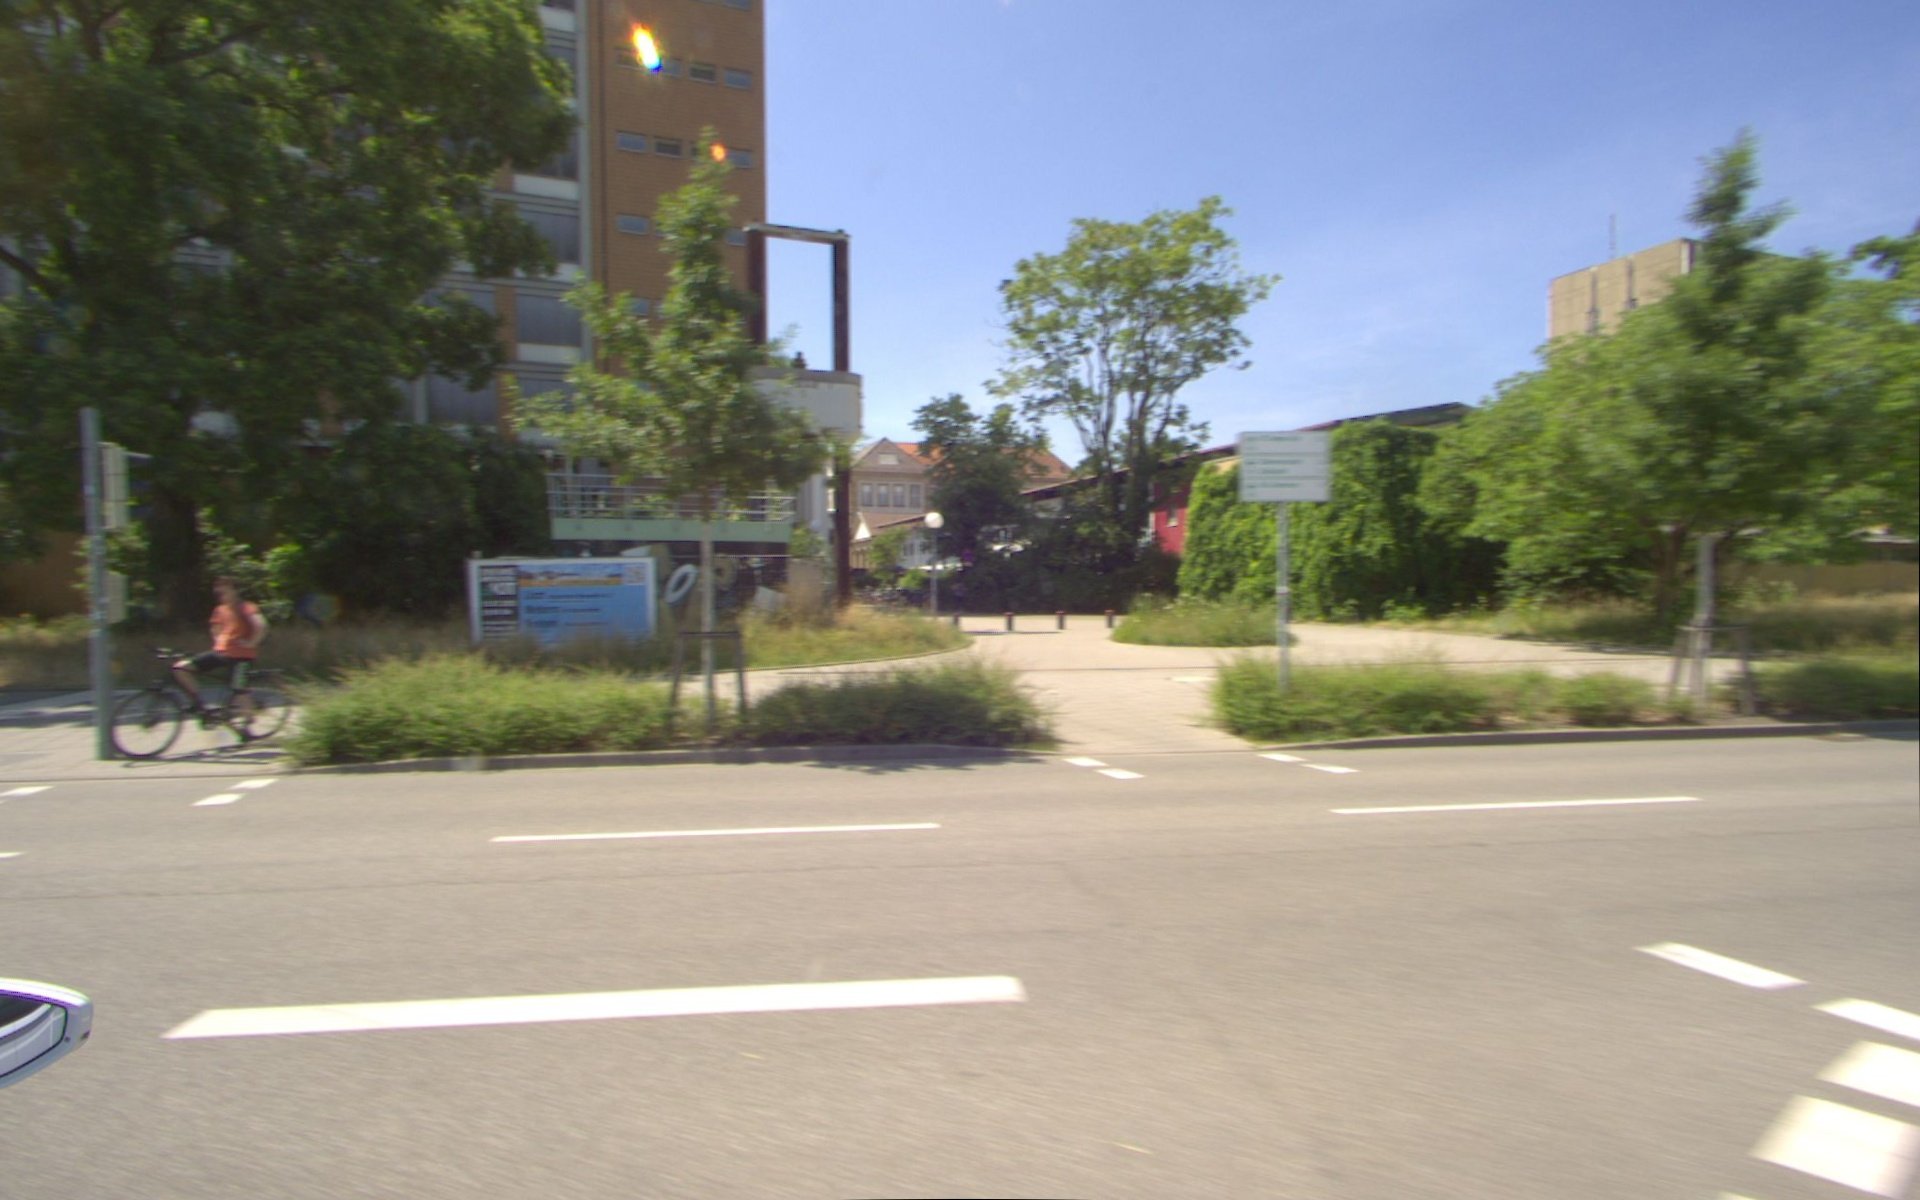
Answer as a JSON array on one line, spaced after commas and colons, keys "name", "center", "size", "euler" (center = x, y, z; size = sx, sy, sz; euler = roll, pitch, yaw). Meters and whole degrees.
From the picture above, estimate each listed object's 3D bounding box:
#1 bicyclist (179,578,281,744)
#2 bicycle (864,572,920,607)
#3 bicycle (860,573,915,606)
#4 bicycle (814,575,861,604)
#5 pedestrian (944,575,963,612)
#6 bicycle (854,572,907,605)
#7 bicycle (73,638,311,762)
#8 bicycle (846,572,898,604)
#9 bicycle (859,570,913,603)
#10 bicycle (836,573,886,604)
[{"name": "bicyclist", "center": [-7.934, 0.632, 10.903], "size": [0.542, 1.739, 0.701], "euler": [2, 3, 22]}, {"name": "bicycle", "center": [-4.282, -0.656, 62.990], "size": [3.398, 2.040, 0.758], "euler": [2, 1, -18]}, {"name": "bicycle", "center": [-4.680, -0.672, 64.296], "size": [3.398, 2.040, 0.758], "euler": [2, 1, -18]}, {"name": "bicycle", "center": [-9.139, -0.749, 74.844], "size": [3.398, 2.040, 0.758], "euler": [2, 1, -18]}, {"name": "pedestrian", "center": [-0.280, -0.290, 46.089], "size": [0.630, 1.687, 0.705], "euler": [1, 1, -20]}, {"name": "bicycle", "center": [-5.278, -0.774, 66.731], "size": [3.398, 2.040, 0.758], "euler": [2, 1, -18]}, {"name": "bicycle", "center": [-8.064, 0.997, 10.641], "size": [0.549, 1.060, 1.991], "euler": [2, 2, 22]}, {"name": "bicycle", "center": [-6.102, -0.829, 69.490], "size": [3.398, 2.040, 0.758], "euler": [2, 1, -18]}, {"name": "bicycle", "center": [-4.833, -0.898, 65.656], "size": [3.398, 2.040, 0.758], "euler": [2, 1, -18]}, {"name": "bicycle", "center": [-7.033, -0.826, 70.949], "size": [3.398, 2.040, 0.758], "euler": [2, 1, -18]}]
